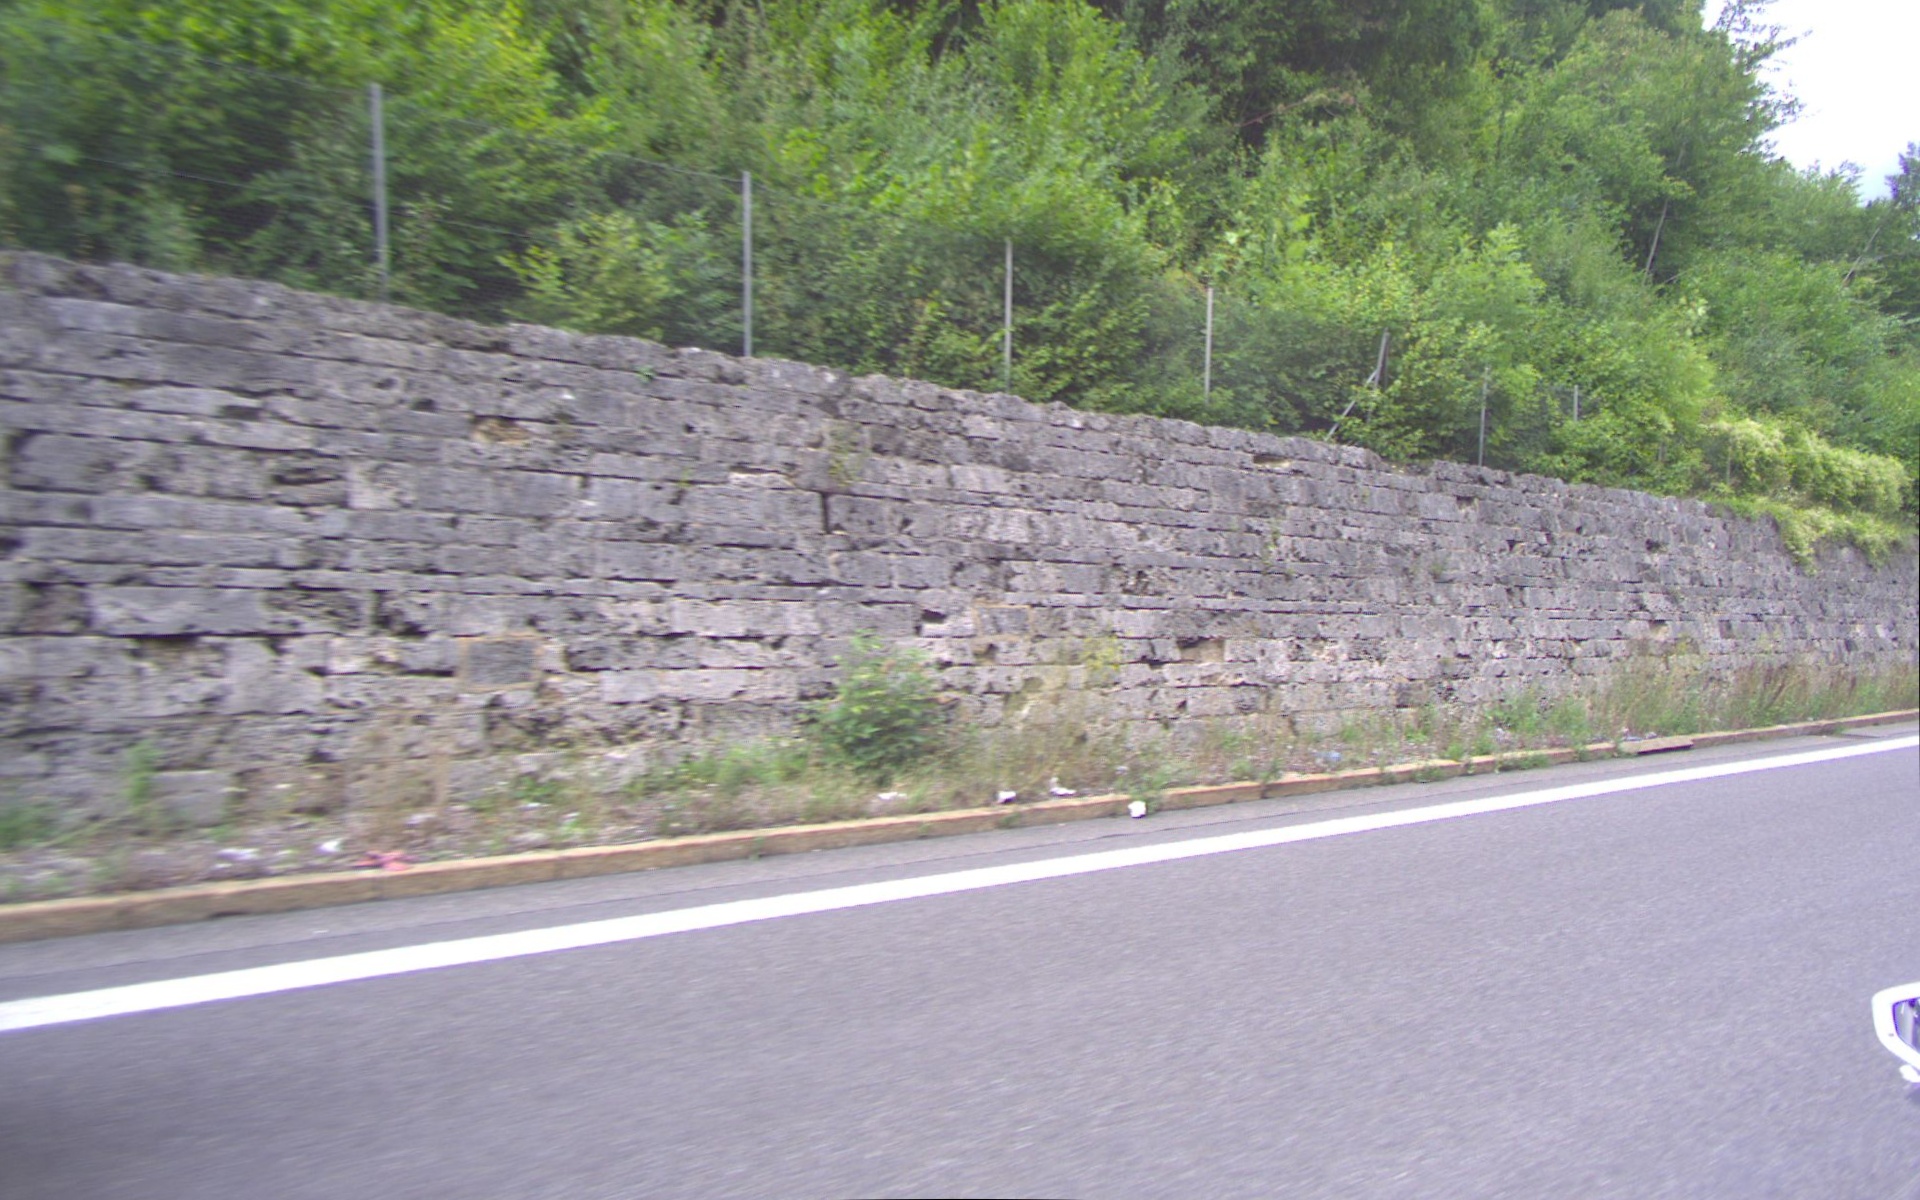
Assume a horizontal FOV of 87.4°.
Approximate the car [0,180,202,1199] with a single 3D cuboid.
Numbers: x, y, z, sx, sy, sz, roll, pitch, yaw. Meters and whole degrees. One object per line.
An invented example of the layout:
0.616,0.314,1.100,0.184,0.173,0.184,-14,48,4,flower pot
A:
-4.240,0.382,0.888,5.477,2.040,1.983,1,-1,-31,car
